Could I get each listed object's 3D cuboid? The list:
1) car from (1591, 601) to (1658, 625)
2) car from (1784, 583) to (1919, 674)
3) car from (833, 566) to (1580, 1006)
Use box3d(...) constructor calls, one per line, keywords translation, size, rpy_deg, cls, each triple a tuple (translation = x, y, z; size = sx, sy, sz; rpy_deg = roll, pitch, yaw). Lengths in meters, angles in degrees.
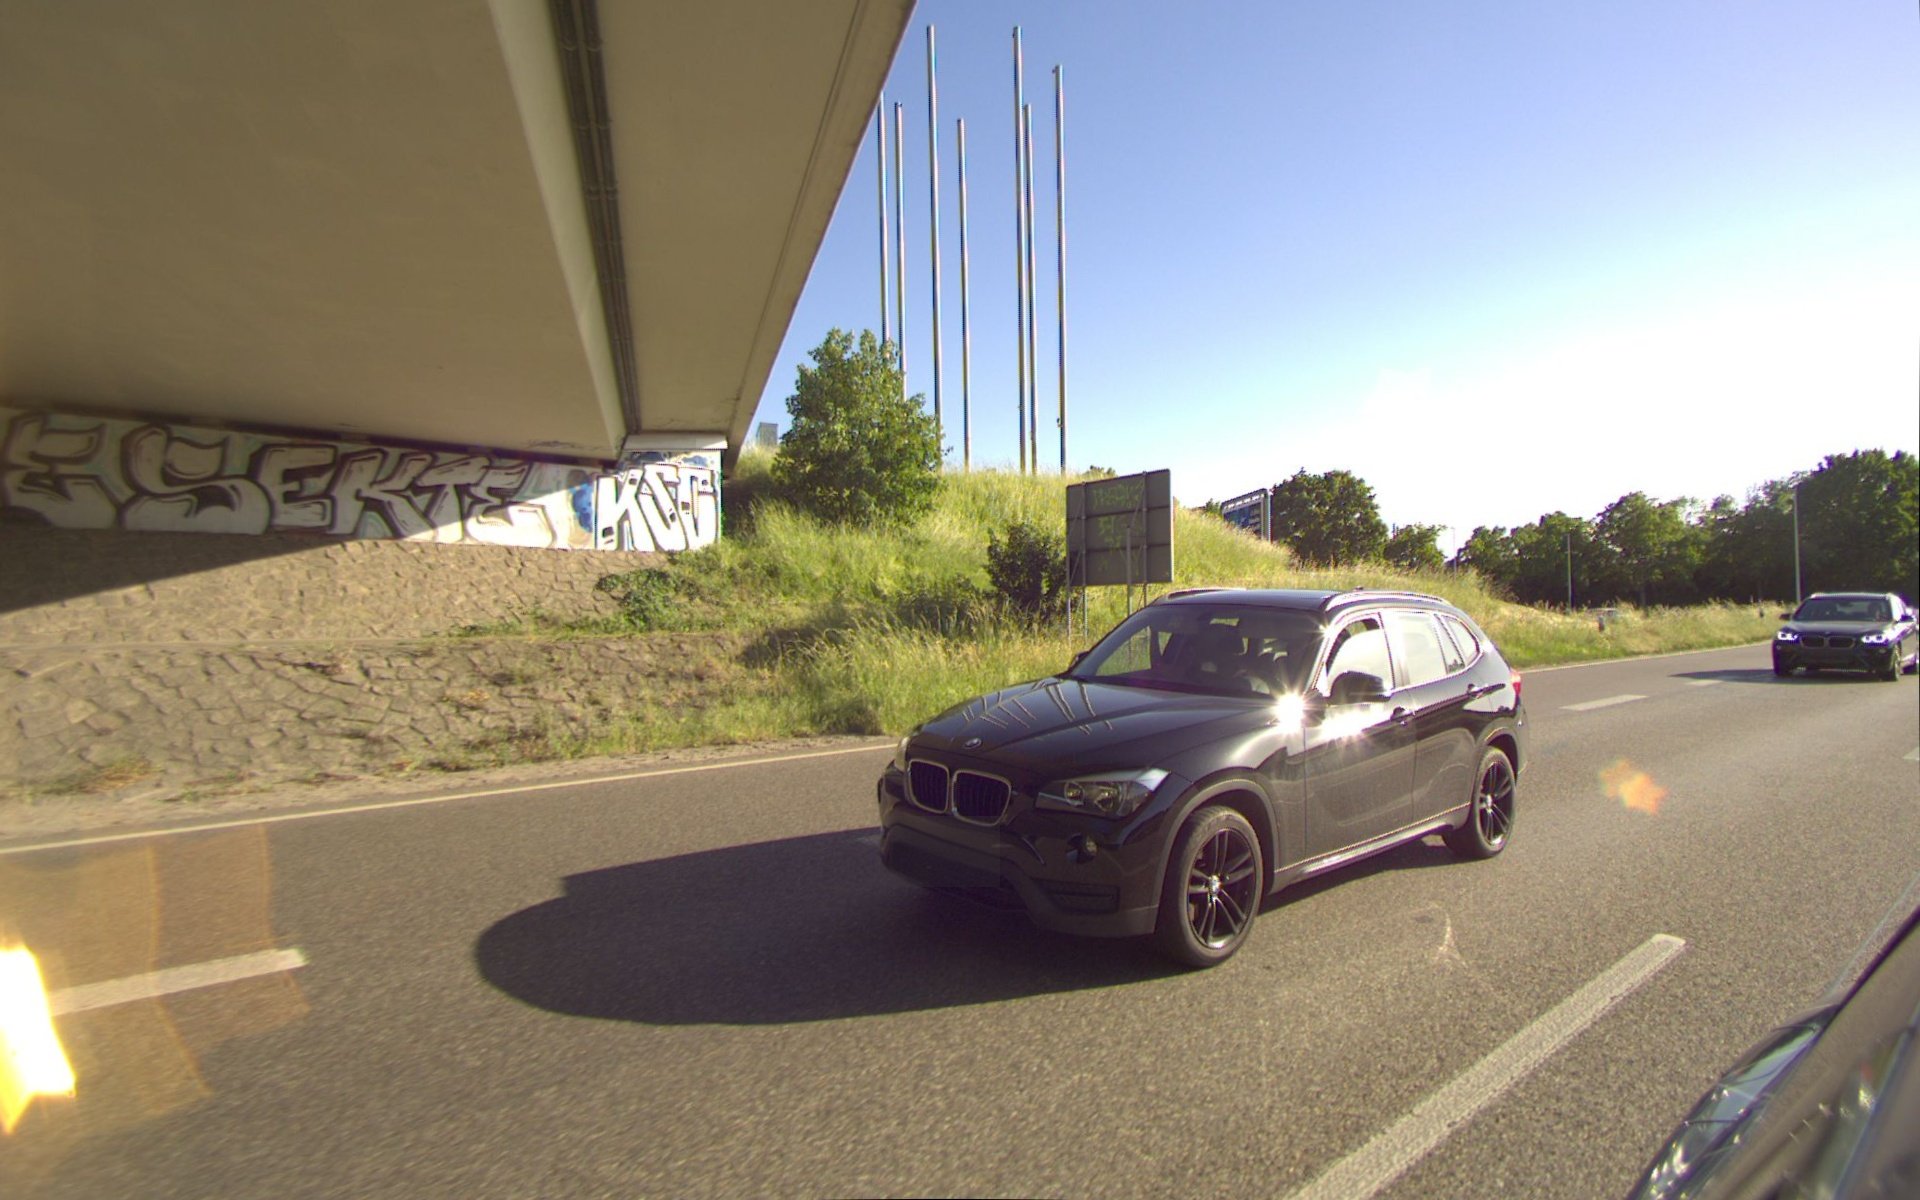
box3d(translation=(49.937, 0.919, 76.130), size=(1.829, 1.713, 4.008), rpy_deg=(0, 0, -15), cls="car")
box3d(translation=(17.899, 0.473, 19.973), size=(4.441, 1.593, 1.758), rpy_deg=(-1, 1, -40), cls="car")
box3d(translation=(1.659, 0.609, 5.630), size=(4.498, 1.525, 1.702), rpy_deg=(-1, 2, -40), cls="car")
